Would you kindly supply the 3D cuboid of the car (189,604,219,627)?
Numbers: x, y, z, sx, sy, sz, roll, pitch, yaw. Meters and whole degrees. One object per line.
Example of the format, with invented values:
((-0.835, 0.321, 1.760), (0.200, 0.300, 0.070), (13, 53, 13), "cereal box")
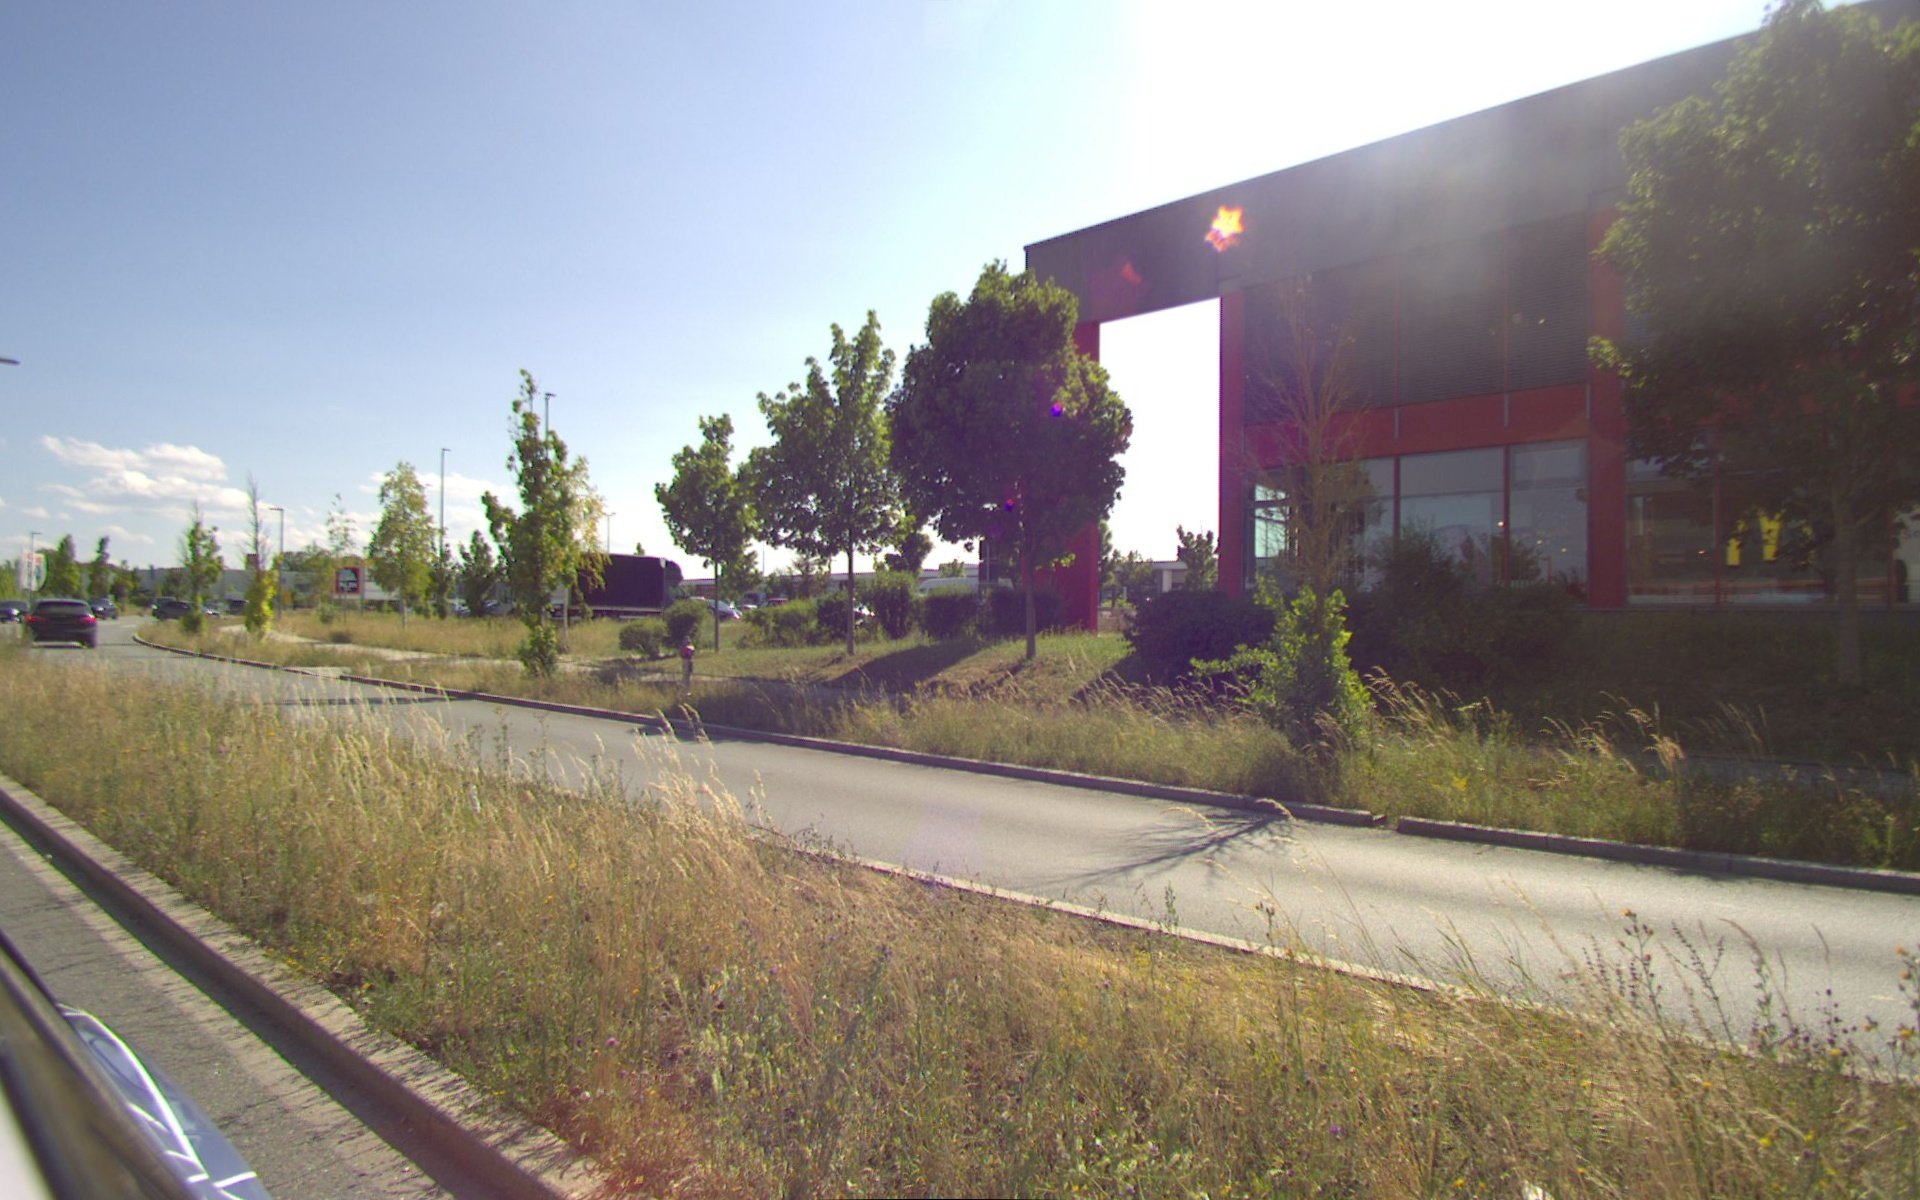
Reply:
((-57.793, 1.204, 77.349), (1.729, 1.700, 4.390), (2, -2, -38), "car")

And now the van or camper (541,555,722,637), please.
((-15.053, -0.063, 46.926), (7.602, 3.495, 2.557), (2, -2, -44), "van or camper")

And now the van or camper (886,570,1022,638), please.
((-0.397, 0.252, 52.496), (7.231, 3.296, 2.405), (0, -2, 41), "van or camper")

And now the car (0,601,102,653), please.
((-29.463, 0.868, 32.773), (4.236, 1.555, 1.741), (0, -4, 39), "car")

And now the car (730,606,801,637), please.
((-11.767, 1.284, 61.002), (4.377, 1.787, 1.814), (0, -2, 39), "car")

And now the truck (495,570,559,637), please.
((-24.000, 0.258, 56.332), (2.285, 3.491, 7.516), (1, -1, -16), "truck")

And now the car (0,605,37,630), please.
((-59.161, 1.073, 62.850), (1.756, 1.505, 4.013), (1, -1, -28), "car")

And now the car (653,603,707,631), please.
((-21.279, 1.271, 76.873), (4.381, 2.080, 1.812), (0, -2, 42), "car")

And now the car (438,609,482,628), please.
((-53.578, 1.986, 108.463), (4.086, 1.875, 1.938), (2, -2, -31), "car")

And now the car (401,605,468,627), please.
((-42.561, 1.319, 82.066), (4.694, 1.656, 2.122), (0, -3, -25), "car")

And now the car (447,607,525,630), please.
((-31.956, 1.258, 68.308), (4.514, 1.469, 1.843), (2, -1, -34), "car")

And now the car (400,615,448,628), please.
((-69.616, 2.792, 131.453), (5.117, 1.685, 2.002), (2, -2, -42), "car")

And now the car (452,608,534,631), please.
((-29.390, 1.231, 63.734), (4.364, 1.394, 1.980), (2, -1, -34), "car")

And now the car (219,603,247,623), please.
((-70.836, 1.265, 98.648), (1.924, 1.808, 4.439), (3, -3, -33), "car")

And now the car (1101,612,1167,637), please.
((11.550, 1.645, 67.287), (4.080, 1.599, 1.644), (0, -2, 39), "car")
